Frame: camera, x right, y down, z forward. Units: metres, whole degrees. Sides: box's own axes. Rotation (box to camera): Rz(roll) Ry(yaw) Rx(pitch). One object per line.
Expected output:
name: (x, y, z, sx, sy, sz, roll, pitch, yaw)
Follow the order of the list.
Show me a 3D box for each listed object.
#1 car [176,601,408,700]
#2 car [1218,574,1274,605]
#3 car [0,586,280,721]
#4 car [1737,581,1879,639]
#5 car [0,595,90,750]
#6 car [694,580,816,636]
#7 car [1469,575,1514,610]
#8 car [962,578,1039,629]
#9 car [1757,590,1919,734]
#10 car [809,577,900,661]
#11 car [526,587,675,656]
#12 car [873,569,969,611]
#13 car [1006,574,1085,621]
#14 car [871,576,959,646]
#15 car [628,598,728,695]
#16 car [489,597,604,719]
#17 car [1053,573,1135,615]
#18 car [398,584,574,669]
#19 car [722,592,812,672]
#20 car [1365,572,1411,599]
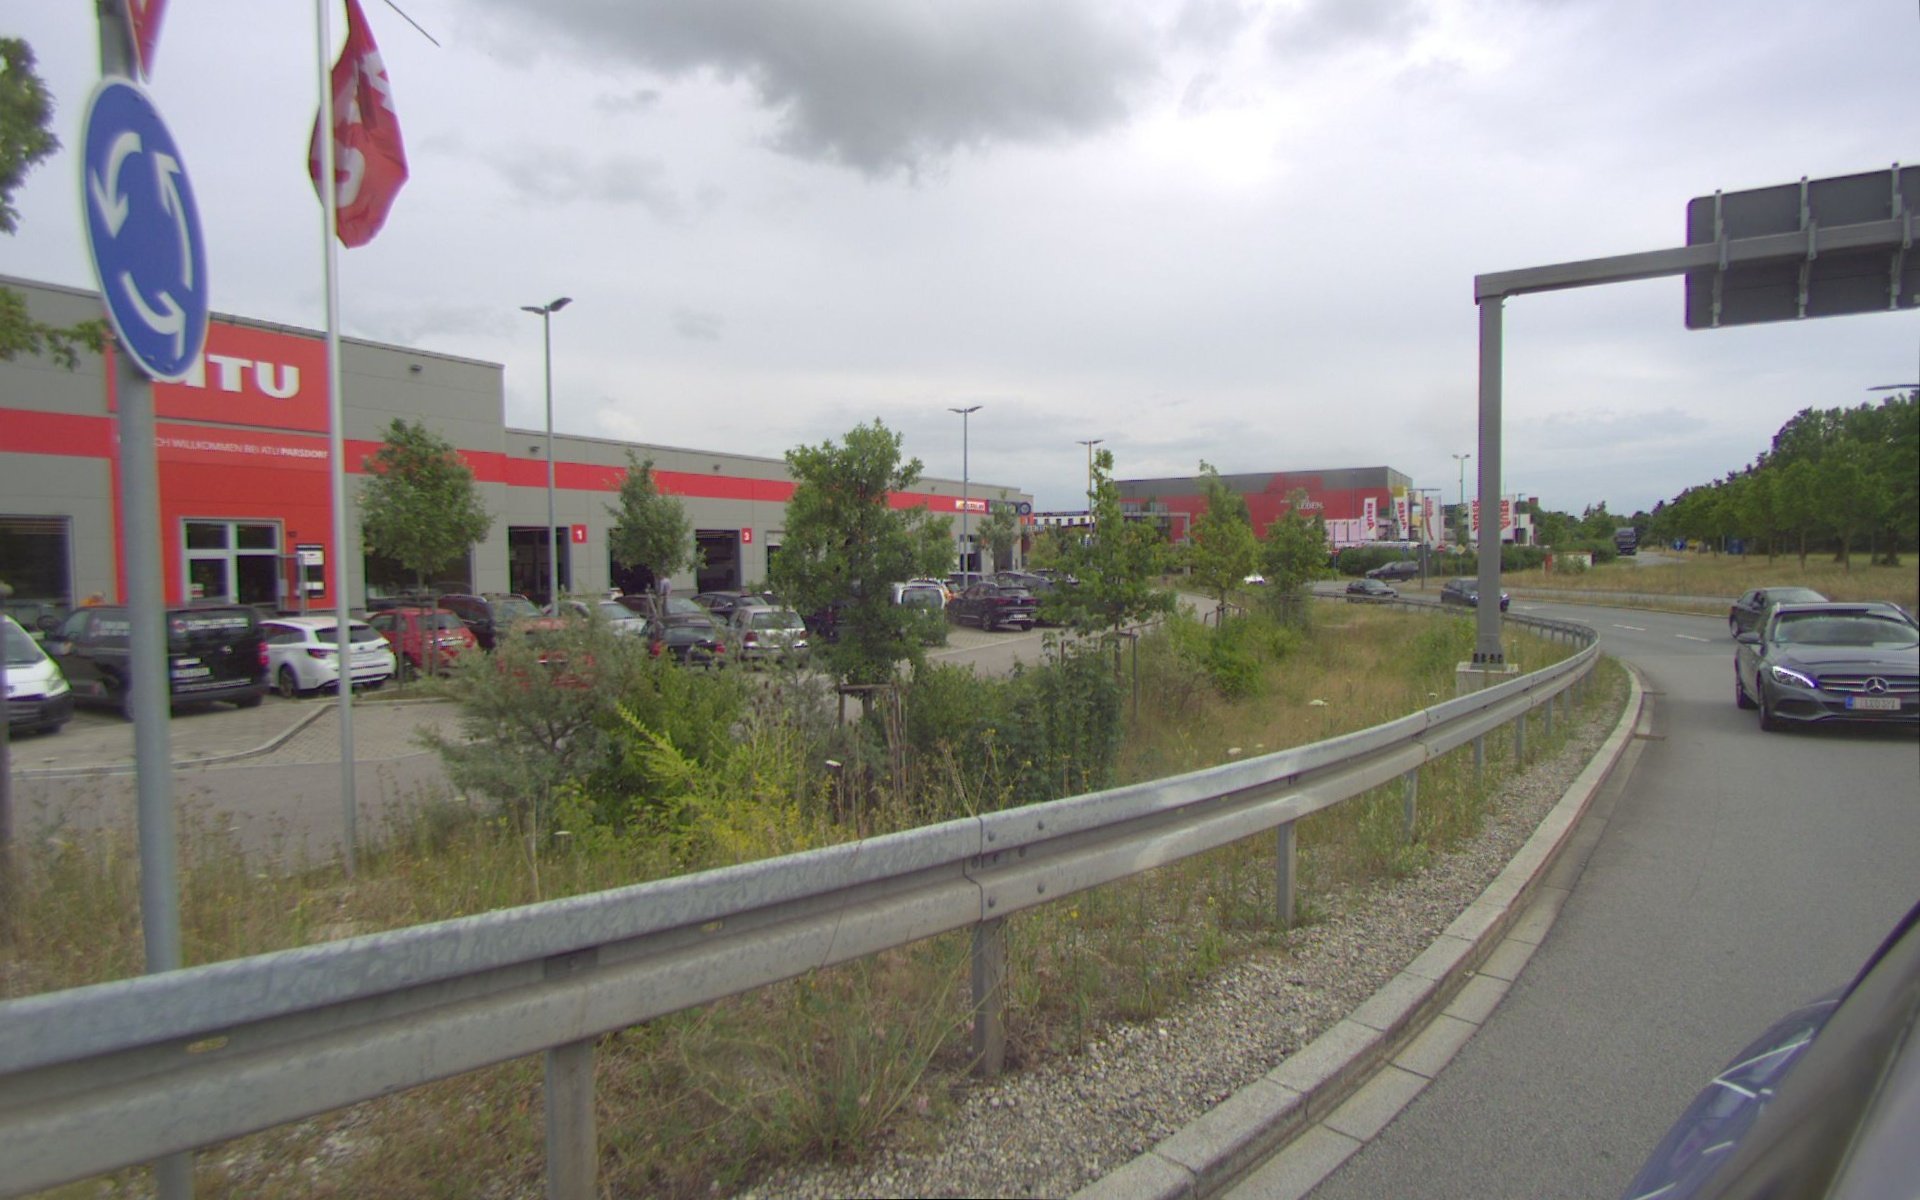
car: (-13.612, 0.927, 20.590, 4.629, 1.661, 1.898, 1, 3, 27)
car: (15.596, -0.569, 55.341, 1.559, 1.564, 3.705, -3, 1, -8)
car: (-14.490, 0.812, 17.804, 5.028, 1.996, 1.983, 1, 3, 27)
car: (23.395, 0.247, 28.107, 1.744, 1.334, 3.934, -2, 2, 20)
car: (-15.791, 1.011, 15.479, 5.029, 2.072, 1.983, 2, 3, 27)
car: (-6.675, 0.266, 32.931, 3.662, 1.658, 1.577, -2, 1, 27)
car: (25.973, -0.393, 49.541, 1.843, 1.429, 4.517, -1, 2, 27)
car: (1.341, 0.098, 35.484, 1.616, 1.642, 4.085, 0, 0, -14)
car: (10.693, 0.625, 12.068, 1.756, 1.438, 4.036, -1, 0, 37)
car: (-2.902, 0.410, 27.066, 1.866, 1.931, 4.088, 0, 3, -14)
car: (-9.449, 0.542, 26.564, 3.662, 1.658, 1.577, -1, 2, 27)
car: (-1.618, -0.416, 42.035, 3.662, 1.564, 1.577, -2, 1, 27)
car: (3.084, -0.106, 37.413, 1.700, 1.643, 4.085, 0, 0, -14)
car: (-1.444, 0.258, 30.594, 1.866, 1.732, 4.088, -1, 4, -14)
car: (-6.066, 0.883, 21.514, 1.734, 1.598, 4.088, -1, 4, -20)
car: (-7.800, 0.955, 19.004, 1.735, 1.597, 4.088, -3, 6, -24)
car: (5.765, -0.296, 44.051, 1.700, 1.642, 4.087, 0, 3, -23)
car: (-11.468, 0.657, 24.460, 4.159, 1.859, 1.577, -2, 1, 27)
car: (-4.835, 0.712, 24.978, 1.734, 1.598, 4.088, -1, 3, -17)
car: (26.015, -0.921, 61.568, 1.832, 1.429, 3.926, -2, 2, 13)
